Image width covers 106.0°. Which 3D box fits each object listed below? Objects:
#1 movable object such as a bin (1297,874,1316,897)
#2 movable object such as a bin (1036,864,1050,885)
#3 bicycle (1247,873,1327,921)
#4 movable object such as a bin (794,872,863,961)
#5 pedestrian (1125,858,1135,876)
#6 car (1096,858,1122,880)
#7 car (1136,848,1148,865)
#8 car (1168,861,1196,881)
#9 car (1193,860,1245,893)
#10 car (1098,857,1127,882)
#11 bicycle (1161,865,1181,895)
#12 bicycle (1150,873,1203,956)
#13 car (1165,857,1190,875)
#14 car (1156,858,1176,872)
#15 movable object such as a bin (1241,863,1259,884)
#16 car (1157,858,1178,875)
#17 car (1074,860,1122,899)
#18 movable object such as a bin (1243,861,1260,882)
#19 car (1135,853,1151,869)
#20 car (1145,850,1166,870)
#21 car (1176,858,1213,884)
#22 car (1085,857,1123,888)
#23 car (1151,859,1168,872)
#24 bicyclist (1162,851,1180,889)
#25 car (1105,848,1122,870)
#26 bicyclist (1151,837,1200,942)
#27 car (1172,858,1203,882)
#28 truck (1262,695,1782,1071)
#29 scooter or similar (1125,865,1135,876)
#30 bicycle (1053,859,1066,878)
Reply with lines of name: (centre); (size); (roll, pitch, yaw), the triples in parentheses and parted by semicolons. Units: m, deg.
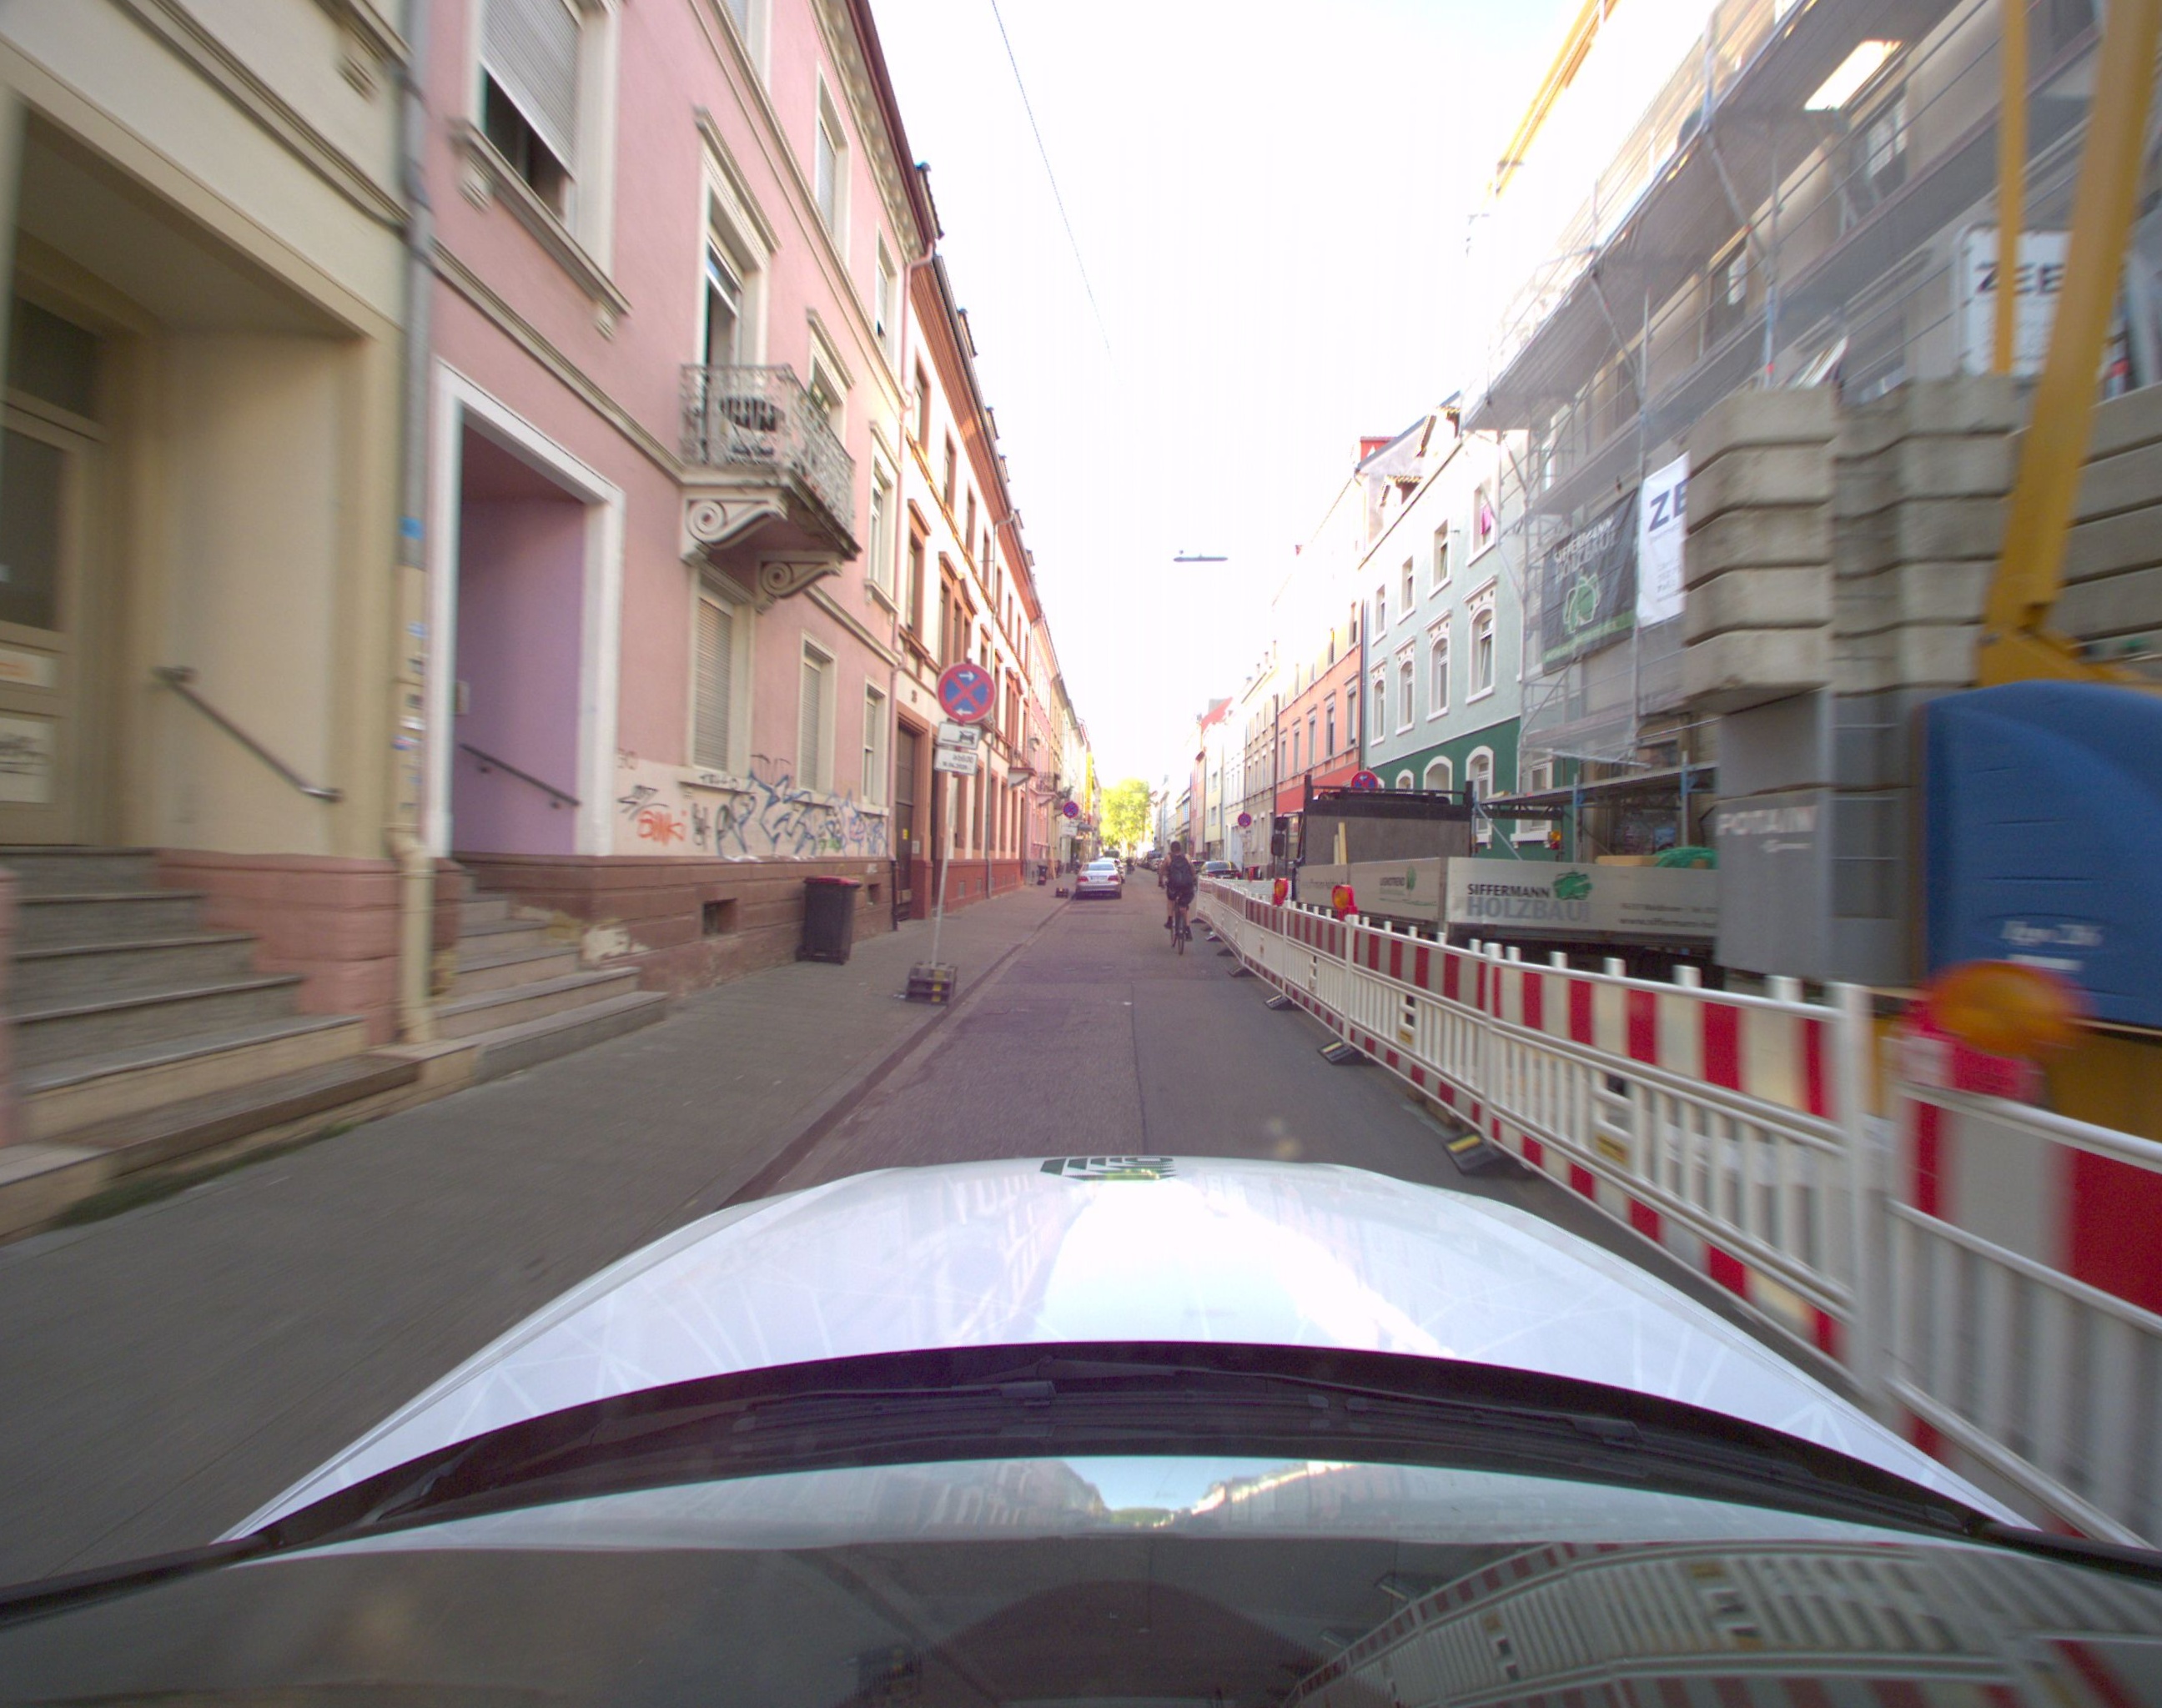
movable object such as a bin: (8.910, 1.242, 32.197); (0.595, 0.906, 0.579); (-1, -2, 1)
movable object such as a bin: (-1.747, 0.950, 37.535); (0.541, 0.945, 0.487); (3, -1, 3)
bicycle: (5.216, 1.090, 20.685); (1.846, 1.110, 0.642); (3, -1, -5)
movable object such as a bin: (-3.102, 0.752, 10.050); (0.603, 1.035, 0.596); (3, -1, 1)
pedestrian: (4.392, 1.127, 73.129); (0.768, 1.578, 0.900); (3, -1, 1)
car: (1.918, 0.997, 54.780); (1.665, 1.442, 3.770); (-1, -1, 2)
car: (13.463, 0.640, 180.365); (2.298, 3.768, 6.773); (-1, -1, 2)
car: (7.441, 1.219, 60.098); (1.704, 1.383, 4.002); (-1, -1, 2)
car: (6.482, 1.029, 38.646); (1.809, 1.438, 4.793); (-1, -1, 2)
car: (1.890, 0.933, 49.039); (1.665, 1.442, 4.167); (-1, -1, 2)
bicycle: (3.894, 1.099, 35.523); (0.699, 1.208, 2.343); (0, 1, 2)
bicycle: (1.540, 0.938, 13.434); (0.699, 1.208, 2.343); (1, -1, 3)
car: (7.721, 0.977, 65.552); (1.704, 1.383, 4.002); (0, -1, 2)
car: (8.335, 1.071, 80.312); (1.704, 1.393, 4.002); (-1, -1, 2)
movable object such as a bin: (8.793, 0.996, 42.308); (0.735, 1.075, 0.676); (-1, -1, -4)
car: (7.971, 1.158, 75.105); (1.614, 1.550, 4.002); (-1, -1, 2)
car: (0.705, 0.942, 31.669); (1.704, 1.383, 4.508); (-1, -1, 2)
movable object such as a bin: (9.086, 0.941, 43.390); (0.803, 1.075, 0.679); (-1, -1, 7)
car: (10.085, 1.206, 133.030); (2.298, 2.538, 6.773); (-1, -1, 2)
car: (9.813, 0.797, 107.598); (2.298, 2.538, 6.773); (-1, -1, 2)
car: (6.829, 1.005, 49.437); (1.810, 1.521, 4.002); (-1, -1, 2)
car: (1.261, 0.919, 42.273); (1.703, 1.383, 4.361); (1, 1, 5)
car: (8.880, 1.258, 91.936); (1.704, 1.447, 4.002); (-1, -1, 2)
bicyclist: (3.898, 0.680, 35.411); (0.699, 1.605, 0.813); (0, 0, 2)
car: (3.789, 0.607, 96.543); (1.903, 2.497, 4.165); (1, 0, 0)
bicyclist: (1.532, 0.567, 13.311); (0.699, 1.633, 1.091); (1, -1, 2)
car: (7.137, 1.067, 55.045); (1.704, 1.556, 4.002); (-1, -1, 2)
truck: (4.253, 0.258, 10.052); (2.650, 2.814, 7.398); (3, -1, 3)
scooter or similar: (4.377, 1.471, 72.690); (0.768, 0.873, 0.771); (3, -1, 0)
bicycle: (-1.351, 0.893, 50.755); (0.590, 1.089, 2.080); (3, -1, 3)
